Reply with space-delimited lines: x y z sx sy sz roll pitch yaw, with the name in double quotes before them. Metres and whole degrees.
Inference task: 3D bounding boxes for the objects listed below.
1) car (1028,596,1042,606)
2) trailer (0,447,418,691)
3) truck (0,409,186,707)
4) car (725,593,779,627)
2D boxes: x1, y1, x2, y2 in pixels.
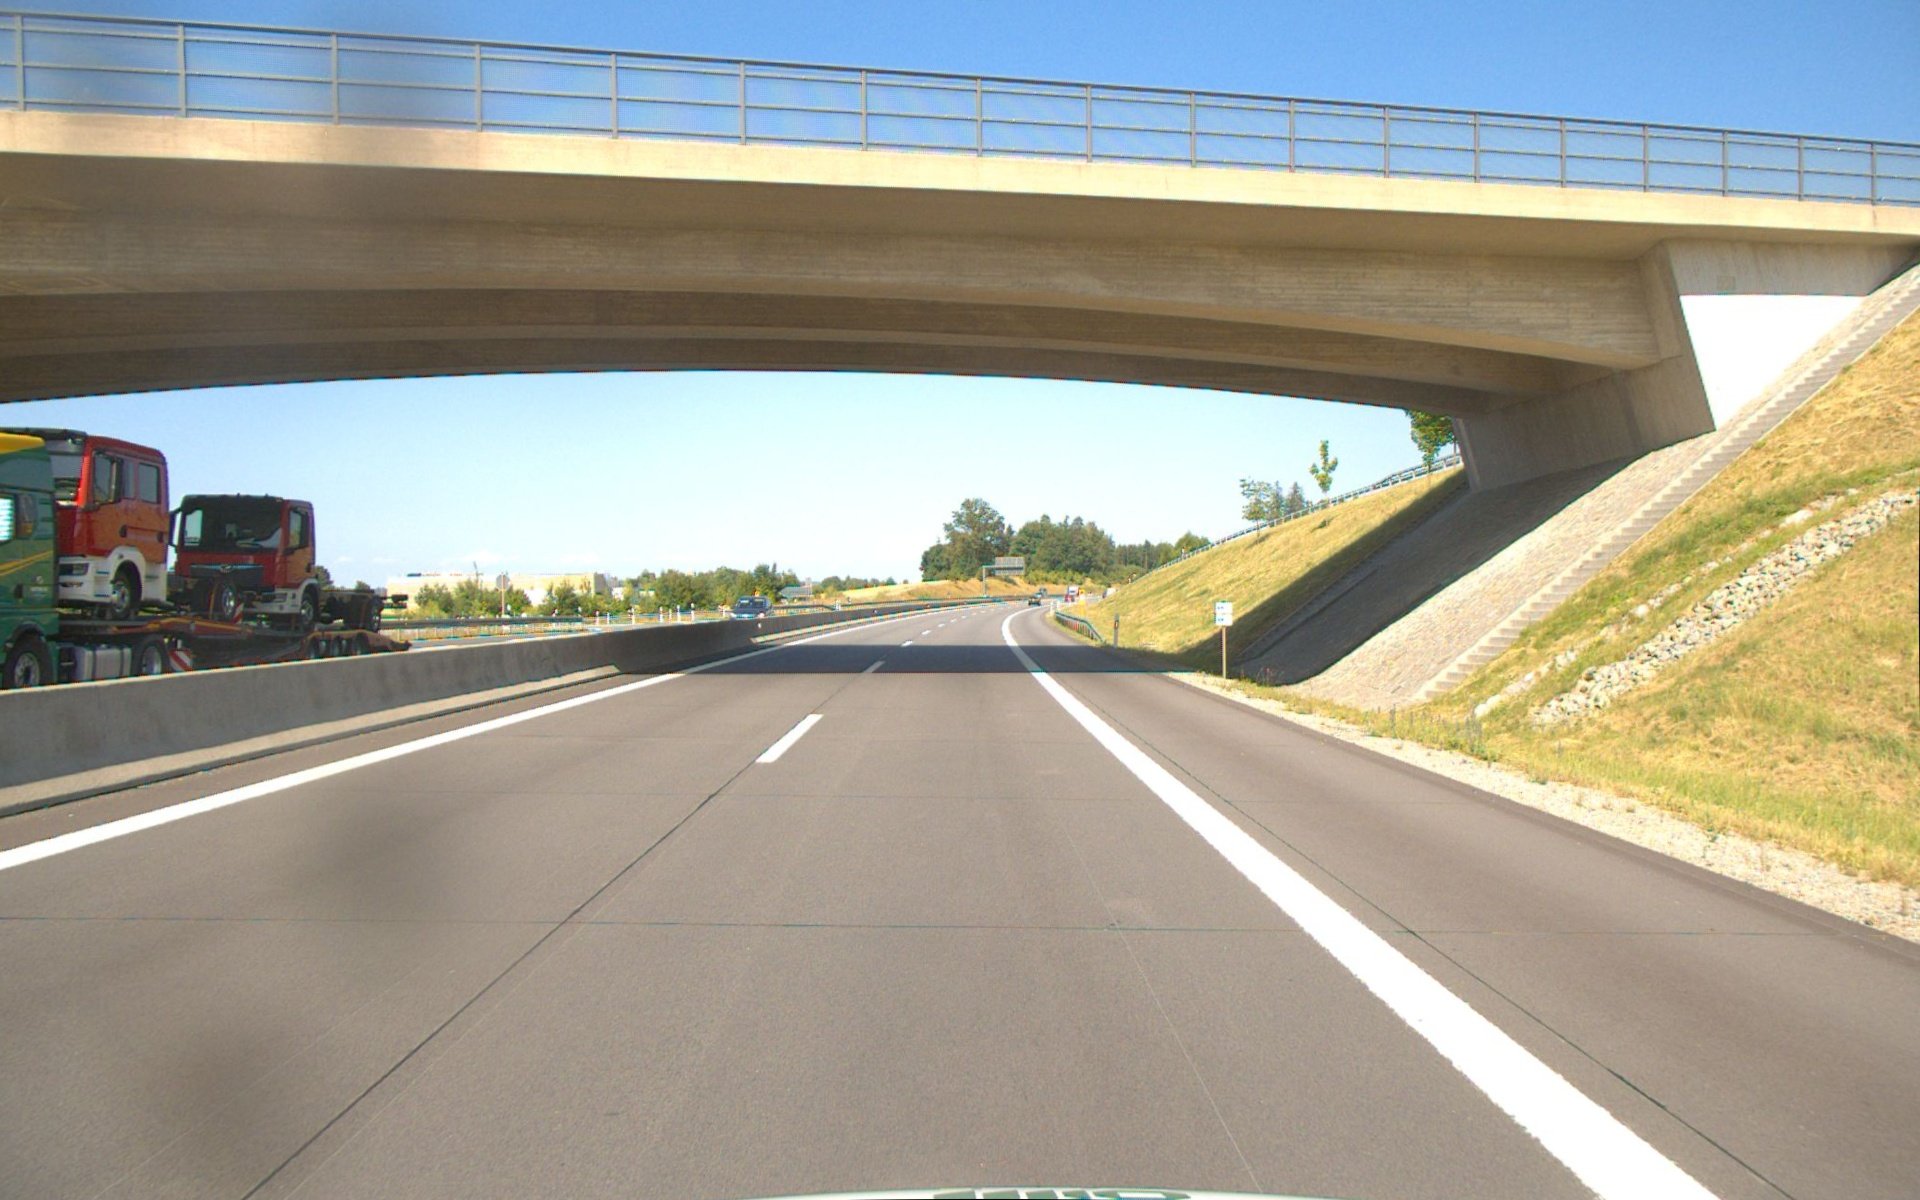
"car" 11.243 0.120 247.262 1.952 1.445 4.001 -2 0 1
"trailer" -13.924 -0.488 31.841 2.610 3.721 13.236 0 0 0
"truck" -13.927 -0.557 23.990 2.679 3.899 5.830 0 0 0
"car" -10.097 0.454 80.627 2.027 1.602 4.927 0 0 0
